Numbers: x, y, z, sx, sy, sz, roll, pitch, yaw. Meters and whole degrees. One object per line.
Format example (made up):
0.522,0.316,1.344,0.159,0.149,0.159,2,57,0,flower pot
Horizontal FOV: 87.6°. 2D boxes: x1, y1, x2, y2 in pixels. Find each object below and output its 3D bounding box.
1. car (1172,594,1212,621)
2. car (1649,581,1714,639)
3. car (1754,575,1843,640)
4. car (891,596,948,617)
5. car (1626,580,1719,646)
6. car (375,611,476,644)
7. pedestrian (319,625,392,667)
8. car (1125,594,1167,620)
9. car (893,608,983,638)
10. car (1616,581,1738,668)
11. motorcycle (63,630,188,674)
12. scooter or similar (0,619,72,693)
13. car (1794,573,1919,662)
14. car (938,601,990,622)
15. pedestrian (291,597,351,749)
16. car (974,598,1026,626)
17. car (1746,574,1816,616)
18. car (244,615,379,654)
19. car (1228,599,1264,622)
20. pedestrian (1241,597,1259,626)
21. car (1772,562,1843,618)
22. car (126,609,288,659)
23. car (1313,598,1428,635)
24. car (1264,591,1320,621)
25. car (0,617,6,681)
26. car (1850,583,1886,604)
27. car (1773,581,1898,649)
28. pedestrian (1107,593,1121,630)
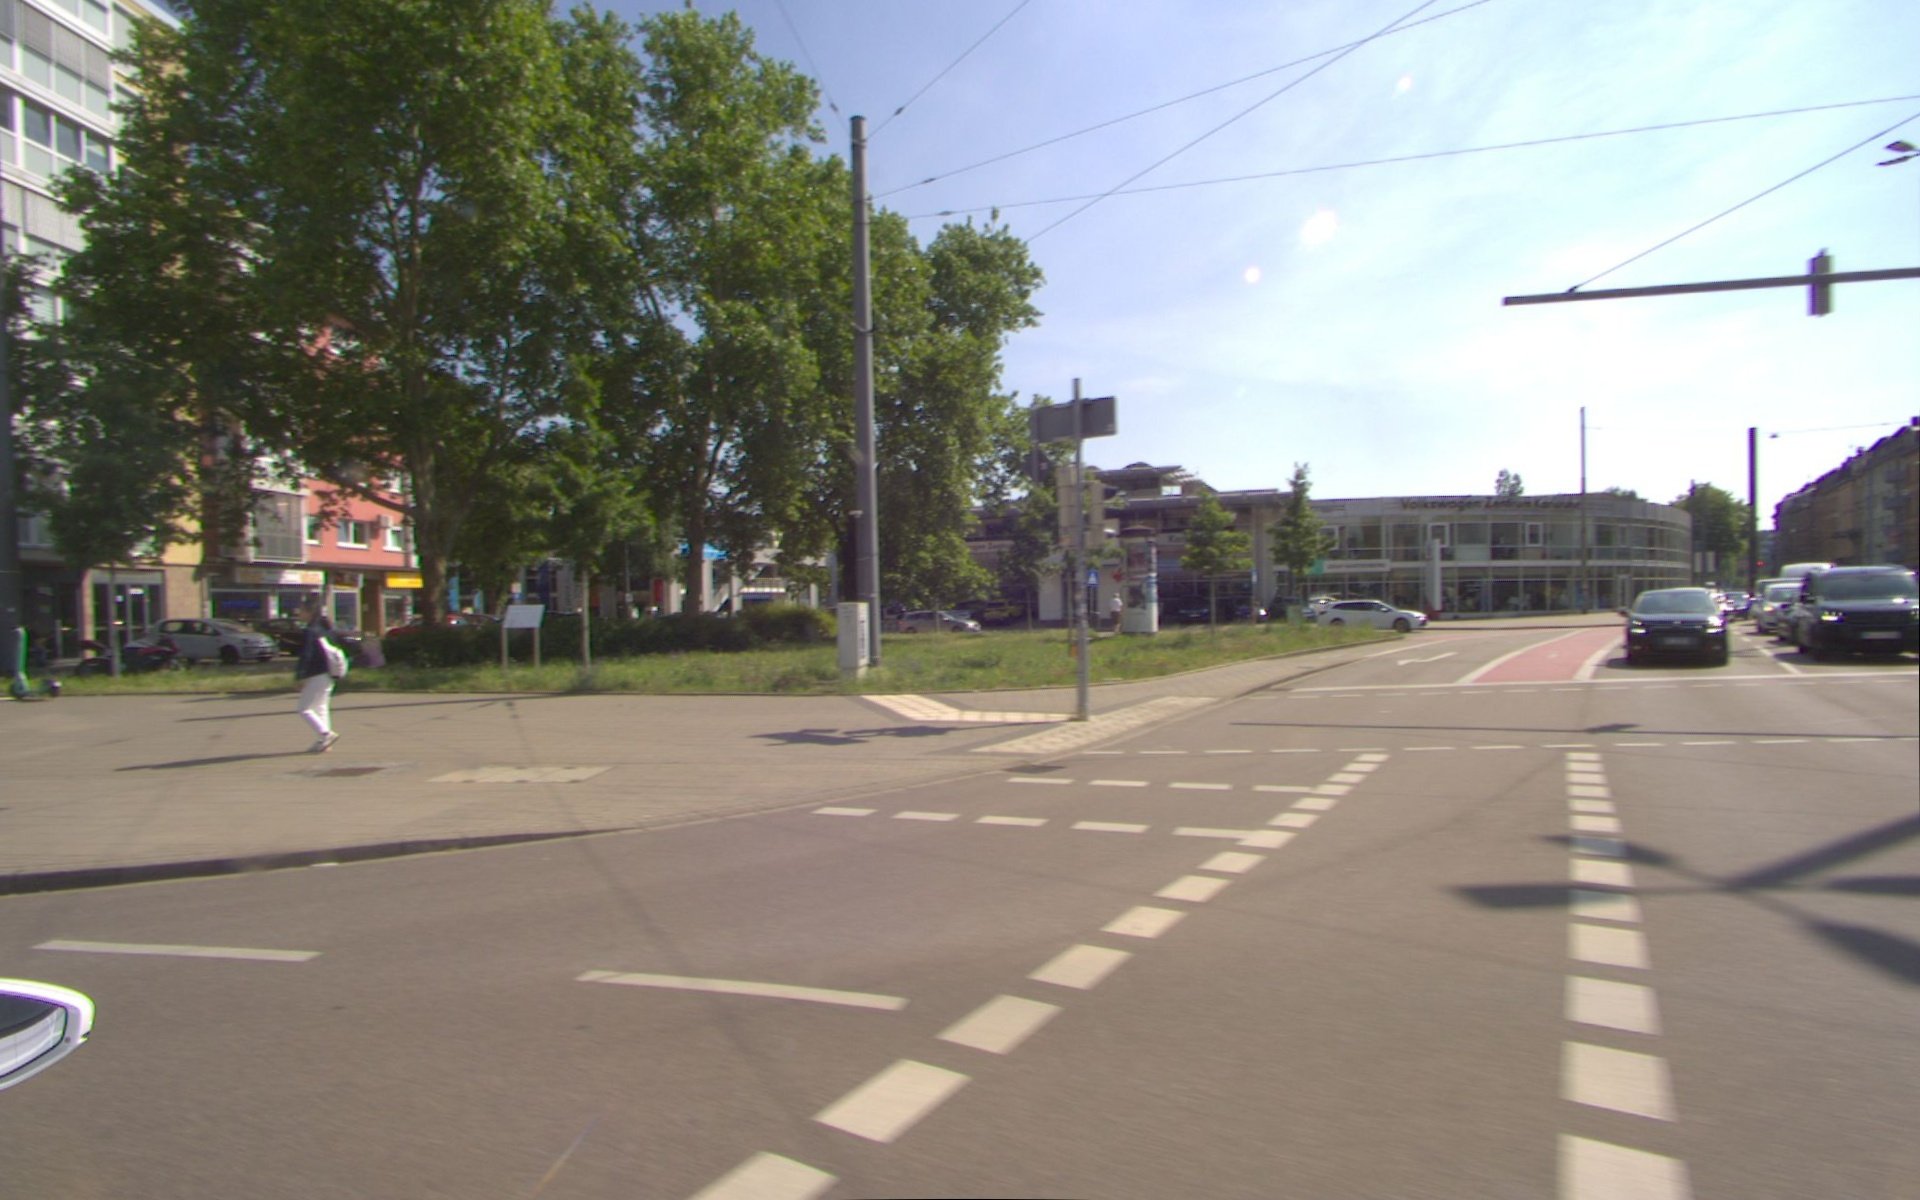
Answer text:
13.881,0.423,59.805,1.964,1.506,3.993,1,0,18,car
23.512,0.338,32.656,1.635,1.761,4.174,-1,-1,36,car
26.581,0.266,31.875,1.876,1.941,4.174,-1,-1,36,car
-3.069,0.516,76.729,3.929,1.528,1.996,-1,1,18,car
18.902,0.346,26.561,1.876,1.608,3.974,-1,-1,36,car
-24.130,1.212,45.297,3.662,1.358,1.743,1,0,3,car
-13.848,1.053,22.977,1.153,0.904,0.822,-1,1,0,pedestrian
11.312,0.414,60.773,1.964,1.506,3.993,1,0,18,car
-1.197,1.205,54.373,4.522,1.455,1.967,1,0,24,car
14.879,0.466,20.797,1.874,1.608,4.182,-2,0,36,car
-18.054,1.111,21.728,2.013,0.853,0.636,-1,1,-37,motorcycle
-14.855,0.881,16.055,1.344,1.134,0.514,0,1,30,scooter or similar
18.287,0.297,20.198,1.942,1.609,4.684,0,0,36,car
0.308,0.729,65.265,1.967,1.261,3.988,2,0,24,car
-6.982,0.783,10.954,0.446,1.626,0.399,1,1,-17,pedestrian
2.620,0.764,64.840,1.967,1.706,3.988,2,0,24,car
35.725,-0.210,43.547,2.168,1.703,4.986,-1,0,42,car
-24.103,1.254,37.283,3.922,1.287,1.743,1,0,3,car
16.703,0.606,58.364,1.803,1.211,3.993,2,0,18,car
16.127,0.629,55.720,0.939,1.601,0.533,2,1,16,pedestrian
42.632,-0.451,50.331,5.819,2.610,2.193,1,1,-45,car
-24.574,1.095,32.775,3.922,1.459,1.890,1,0,3,car
18.229,0.706,44.574,4.534,1.455,1.436,2,1,34,car
19.561,0.339,59.123,1.790,1.639,3.999,1,0,-3,car
-24.433,1.128,22.758,4.013,1.489,1.661,-1,-3,3,car
91.458,-0.633,100.900,2.086,2.040,3.977,2,0,34,car
22.322,0.390,25.685,1.874,1.608,3.978,-1,-1,33,car
6.726,0.511,43.646,0.389,1.617,0.460,2,1,43,pedestrian
